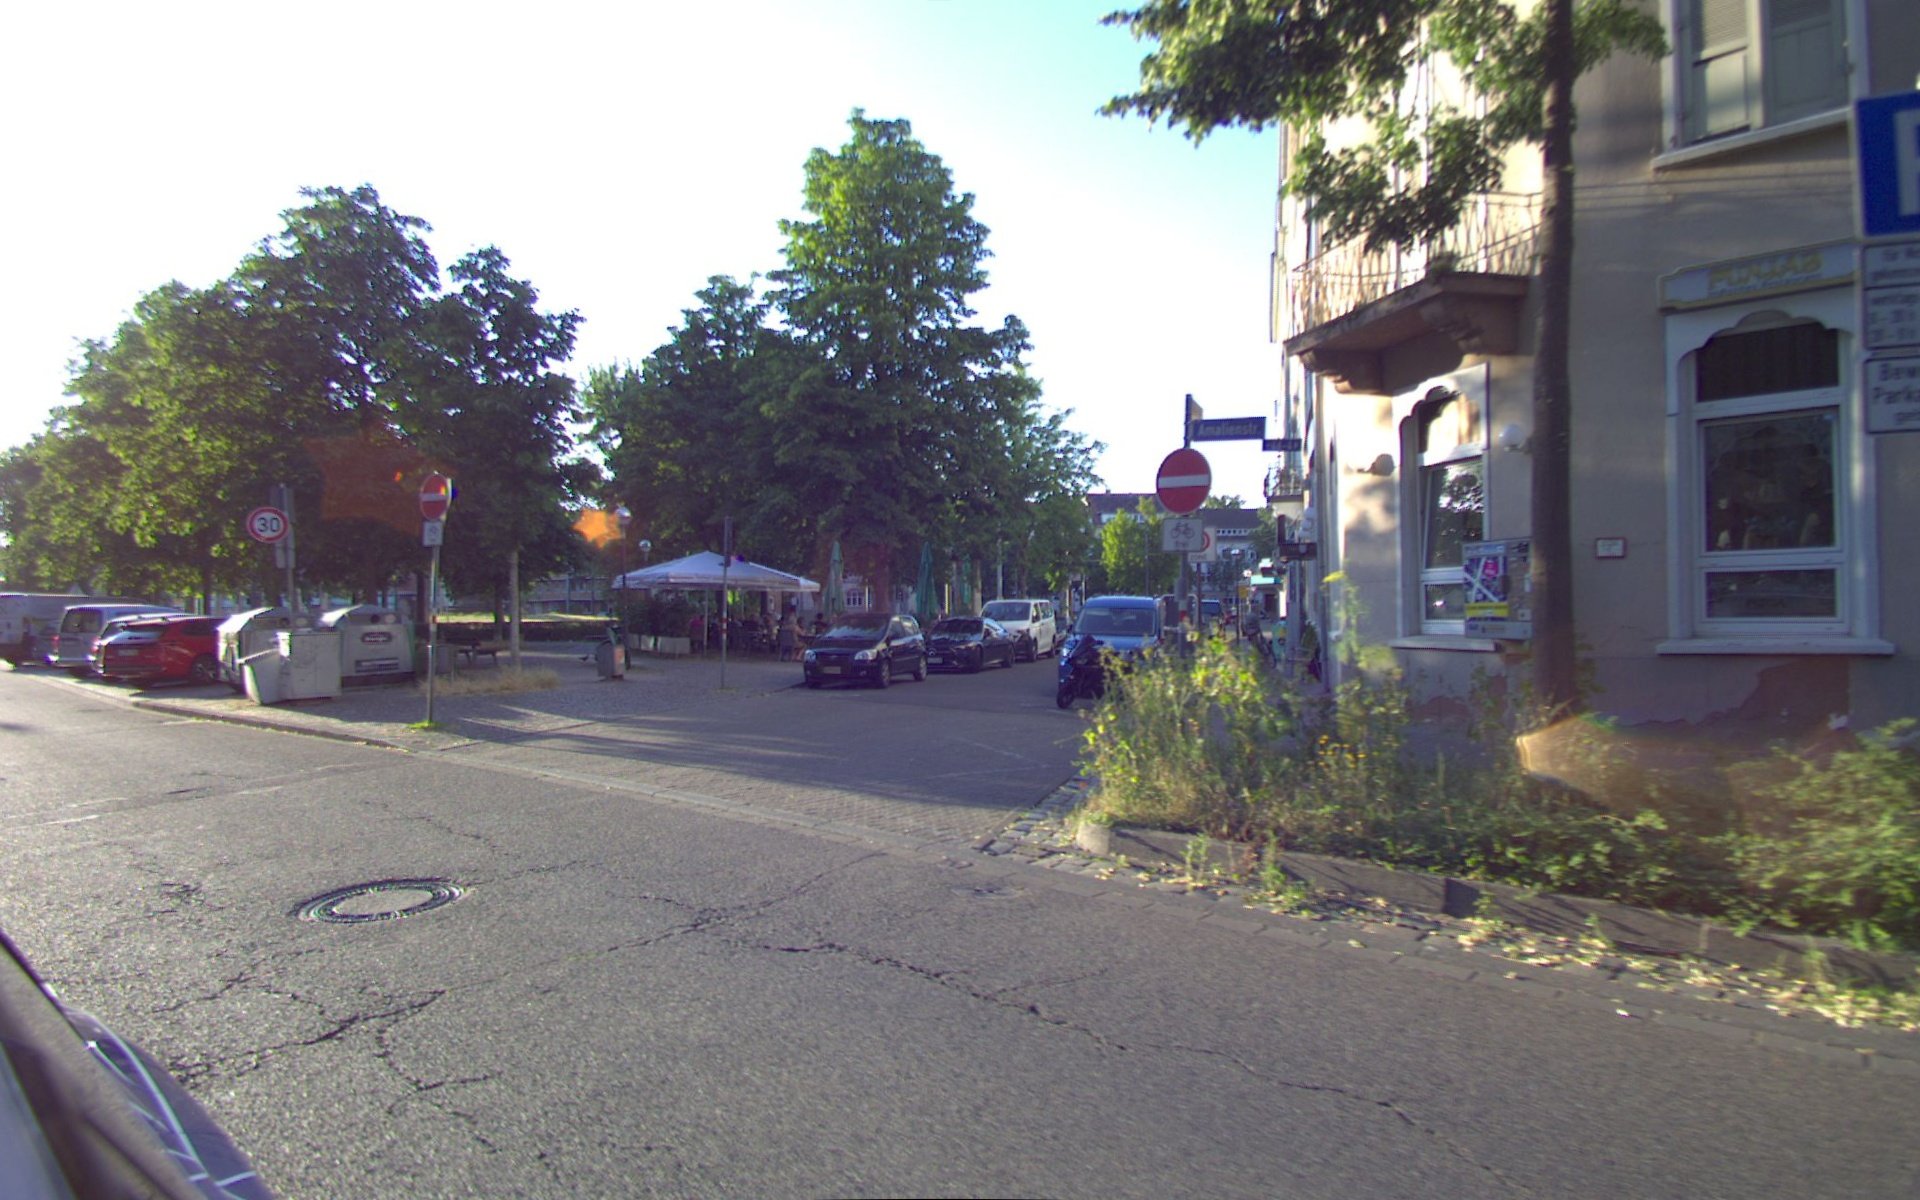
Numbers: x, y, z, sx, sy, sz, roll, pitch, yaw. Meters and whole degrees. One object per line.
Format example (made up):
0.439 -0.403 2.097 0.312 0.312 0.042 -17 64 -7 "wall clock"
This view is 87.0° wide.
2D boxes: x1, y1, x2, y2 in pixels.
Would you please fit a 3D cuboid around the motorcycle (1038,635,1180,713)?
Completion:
2.293 1.102 15.526 2.062 1.038 0.749 -2 -1 -27 "motorcycle"

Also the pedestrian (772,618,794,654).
-5.971 1.216 34.134 0.527 1.183 0.527 2 -3 -41 "pedestrian"

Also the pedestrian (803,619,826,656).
-4.813 1.243 33.473 0.527 1.183 0.527 2 -3 -41 "pedestrian"

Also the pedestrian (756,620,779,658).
-6.132 1.238 32.271 0.527 1.183 0.527 2 -3 -41 "pedestrian"

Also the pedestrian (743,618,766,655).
-6.625 1.182 32.586 0.527 1.183 0.527 2 -3 -41 "pedestrian"

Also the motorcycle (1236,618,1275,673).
7.047 1.049 24.076 0.680 1.195 2.310 -2 0 20 "motorcycle"

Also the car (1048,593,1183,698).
3.010 0.783 18.811 1.942 1.690 4.410 -2 -1 15 "car"

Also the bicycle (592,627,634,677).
-7.959 1.175 23.175 0.355 1.076 1.814 -1 -1 -36 "bicycle"

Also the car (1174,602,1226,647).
11.578 1.135 48.637 1.984 2.029 3.975 -2 0 19 "car"

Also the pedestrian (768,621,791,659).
-5.679 1.249 31.804 0.527 1.183 0.527 2 -3 -41 "pedestrian"

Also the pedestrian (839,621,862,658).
-3.515 1.279 32.495 0.527 1.183 0.527 2 -3 -41 "pedestrian"

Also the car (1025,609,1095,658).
3.862 1.239 38.493 1.857 1.658 3.688 -2 0 18 "car"

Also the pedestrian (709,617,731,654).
-7.893 1.171 33.249 0.527 1.225 0.527 2 -3 -41 "pedestrian"

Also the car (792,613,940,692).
-1.801 1.019 20.552 1.693 1.391 3.504 -2 0 19 "car"

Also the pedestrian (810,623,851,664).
-3.697 1.251 28.840 0.850 1.140 0.787 -2 -3 37 "pedestrian"

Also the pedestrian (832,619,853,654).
-4.074 1.258 35.054 0.527 1.183 0.527 2 -3 -41 "pedestrian"

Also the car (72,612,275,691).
-19.517 1.219 25.362 1.728 1.709 3.993 -2 0 5 "car"

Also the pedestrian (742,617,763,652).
-7.137 1.172 34.775 0.527 1.183 0.527 0 -1 -41 "pedestrian"

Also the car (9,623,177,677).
-27.113 1.512 31.839 1.856 1.479 4.000 -2 0 -1 "car"

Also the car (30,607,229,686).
-22.184 1.180 27.257 1.848 1.892 3.993 -2 0 5 "car"

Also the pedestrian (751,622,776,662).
-5.841 1.241 30.097 0.527 1.164 0.527 3 -3 -41 "pedestrian"

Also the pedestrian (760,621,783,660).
-5.781 1.249 31.037 0.527 1.183 0.527 2 -3 -41 "pedestrian"

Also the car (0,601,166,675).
-29.927 1.199 34.113 2.182 2.268 4.592 -2 0 15 "car"

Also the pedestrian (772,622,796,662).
-5.322 1.261 30.547 0.527 1.183 0.527 2 -3 -41 "pedestrian"

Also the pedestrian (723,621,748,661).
-6.674 1.214 30.108 0.527 1.163 0.527 2 -3 -41 "pedestrian"

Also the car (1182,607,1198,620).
33.604 2.019 147.732 1.983 1.785 3.977 -2 0 17 "car"

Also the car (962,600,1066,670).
1.823 1.048 32.343 2.027 2.002 4.802 -2 0 19 "car"

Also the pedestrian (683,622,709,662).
-7.947 1.258 30.484 0.572 1.181 0.535 2 -3 -41 "pedestrian"

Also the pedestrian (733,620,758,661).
-6.292 1.190 29.697 0.527 1.164 0.527 2 -3 -41 "pedestrian"

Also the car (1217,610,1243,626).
23.974 1.569 89.754 1.891 1.343 3.699 -1 -1 20 "car"

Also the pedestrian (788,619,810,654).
-5.384 1.220 33.809 0.527 1.183 0.527 2 -3 -41 "pedestrian"

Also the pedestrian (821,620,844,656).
-4.169 1.238 33.072 0.527 1.183 0.527 2 -3 -41 "pedestrian"

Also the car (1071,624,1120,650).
6.483 1.755 48.179 1.637 1.063 3.574 -2 0 19 "car"

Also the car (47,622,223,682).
-24.199 1.466 29.893 1.825 1.503 3.996 -2 0 3 "car"

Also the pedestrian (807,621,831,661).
-4.332 1.253 31.116 0.527 1.183 0.527 0 -1 -41 "pedestrian"

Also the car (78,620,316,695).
-16.999 1.234 22.820 1.979 1.497 3.984 -1 -1 12 "car"

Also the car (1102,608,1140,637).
9.534 1.322 59.703 1.741 1.606 3.357 -2 -1 17 "car"

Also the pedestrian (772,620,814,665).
-4.547 1.150 27.567 0.850 1.208 0.787 -2 -3 37 "pedestrian"

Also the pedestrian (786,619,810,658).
-5.048 1.202 31.481 0.527 1.183 0.527 2 -3 -41 "pedestrian"

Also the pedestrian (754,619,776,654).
-6.624 1.234 34.388 0.527 1.183 0.527 0 -1 -41 "pedestrian"

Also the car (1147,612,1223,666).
6.955 1.143 31.015 1.824 1.451 3.957 -2 0 19 "car"

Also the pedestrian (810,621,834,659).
-4.378 1.269 32.101 0.556 1.200 0.523 1 -2 -41 "pedestrian"

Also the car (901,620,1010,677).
-0.035 1.215 26.193 1.814 1.247 3.751 -2 0 17 "car"

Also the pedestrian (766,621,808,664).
-4.887 1.202 28.594 0.850 1.167 0.787 -2 -3 37 "pedestrian"
